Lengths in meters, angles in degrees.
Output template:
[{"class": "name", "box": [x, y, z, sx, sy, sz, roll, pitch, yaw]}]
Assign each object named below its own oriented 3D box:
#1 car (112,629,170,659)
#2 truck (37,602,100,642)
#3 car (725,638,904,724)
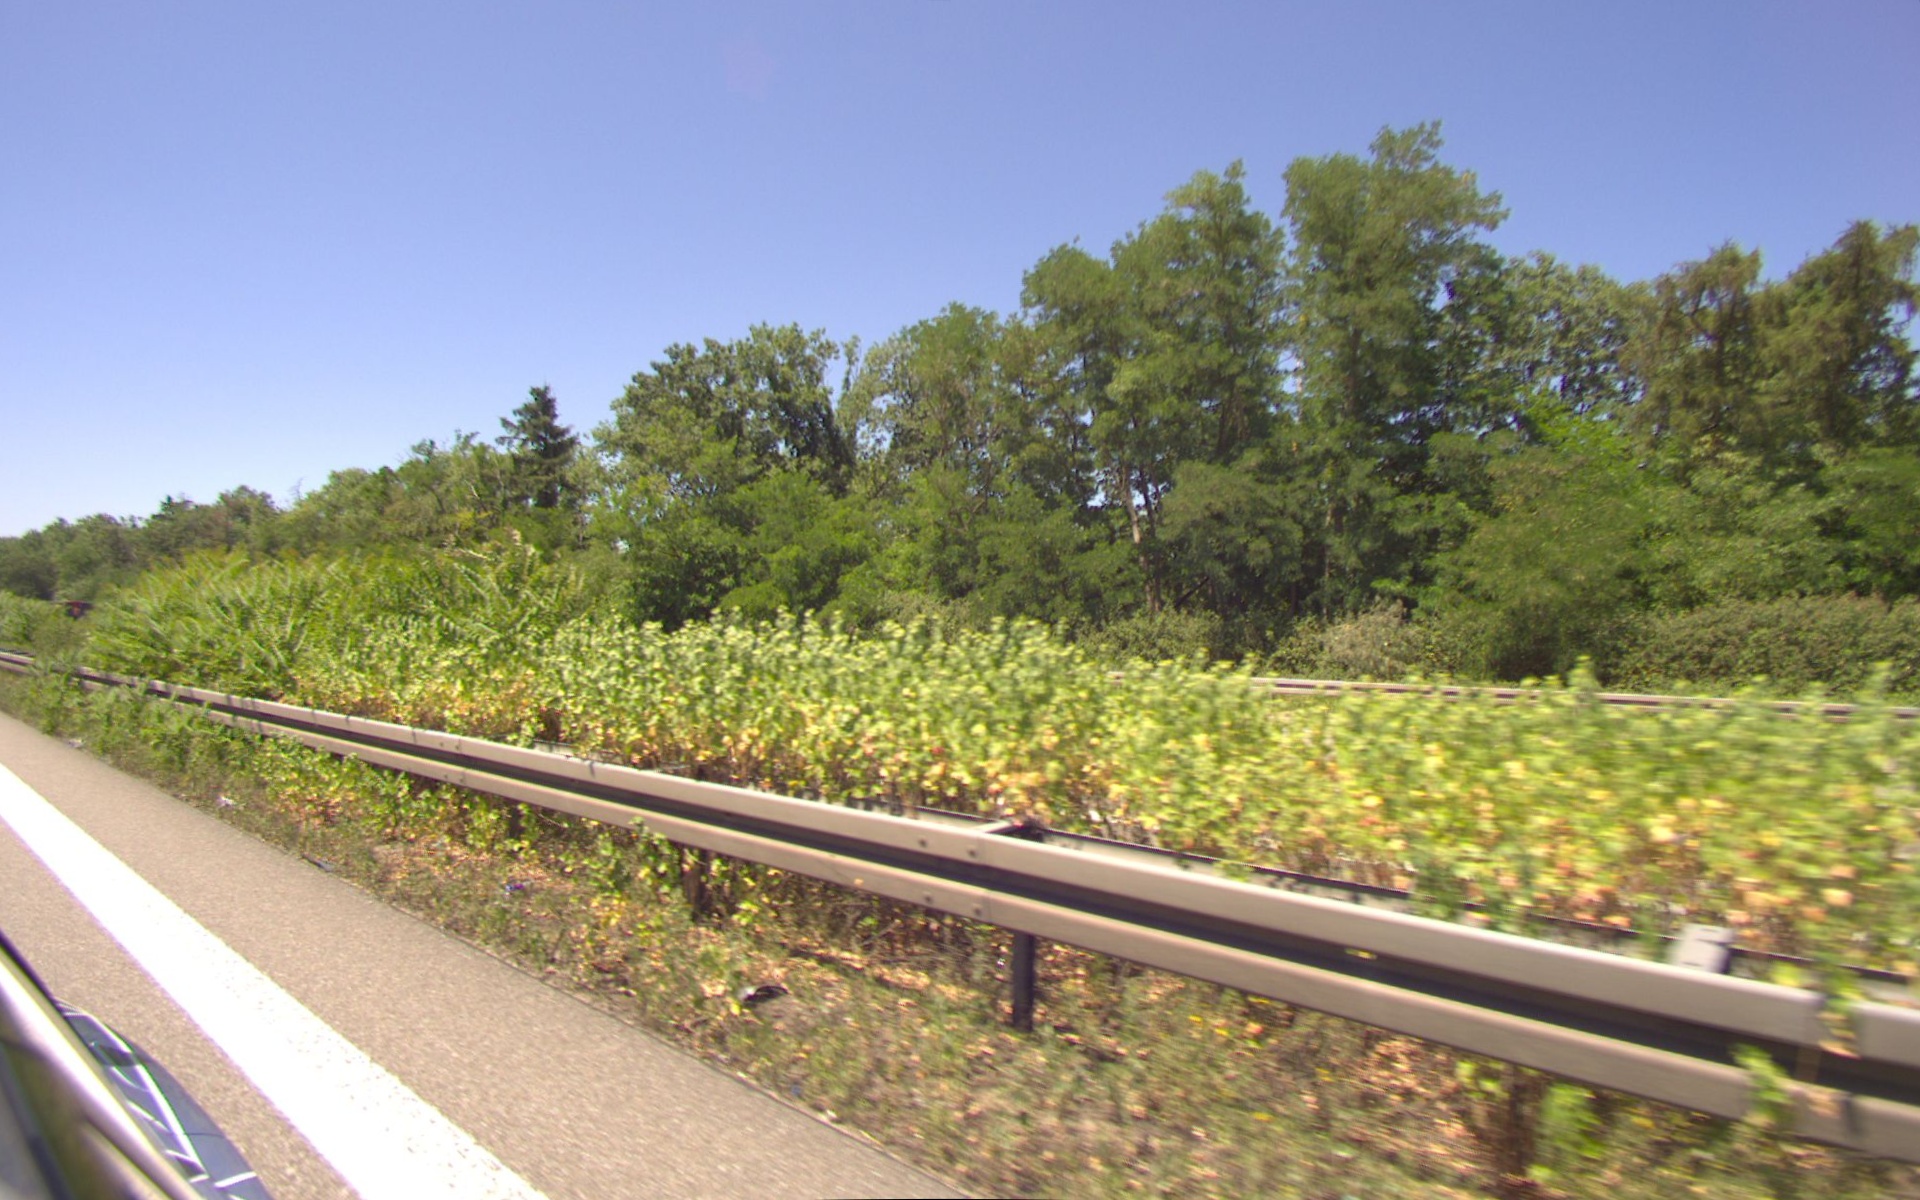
[{"class": "car", "box": [-44.050, 2.352, 54.386, 3.774, 1.562, 1.751, -1, -4, 41]}, {"class": "truck", "box": [-83.792, 2.091, 95.029, 11.975, 3.459, 2.758, -1, -3, 41]}, {"class": "car", "box": [-2.712, 1.417, 18.567, 3.255, 1.378, 1.494, -1, -2, 41]}]
